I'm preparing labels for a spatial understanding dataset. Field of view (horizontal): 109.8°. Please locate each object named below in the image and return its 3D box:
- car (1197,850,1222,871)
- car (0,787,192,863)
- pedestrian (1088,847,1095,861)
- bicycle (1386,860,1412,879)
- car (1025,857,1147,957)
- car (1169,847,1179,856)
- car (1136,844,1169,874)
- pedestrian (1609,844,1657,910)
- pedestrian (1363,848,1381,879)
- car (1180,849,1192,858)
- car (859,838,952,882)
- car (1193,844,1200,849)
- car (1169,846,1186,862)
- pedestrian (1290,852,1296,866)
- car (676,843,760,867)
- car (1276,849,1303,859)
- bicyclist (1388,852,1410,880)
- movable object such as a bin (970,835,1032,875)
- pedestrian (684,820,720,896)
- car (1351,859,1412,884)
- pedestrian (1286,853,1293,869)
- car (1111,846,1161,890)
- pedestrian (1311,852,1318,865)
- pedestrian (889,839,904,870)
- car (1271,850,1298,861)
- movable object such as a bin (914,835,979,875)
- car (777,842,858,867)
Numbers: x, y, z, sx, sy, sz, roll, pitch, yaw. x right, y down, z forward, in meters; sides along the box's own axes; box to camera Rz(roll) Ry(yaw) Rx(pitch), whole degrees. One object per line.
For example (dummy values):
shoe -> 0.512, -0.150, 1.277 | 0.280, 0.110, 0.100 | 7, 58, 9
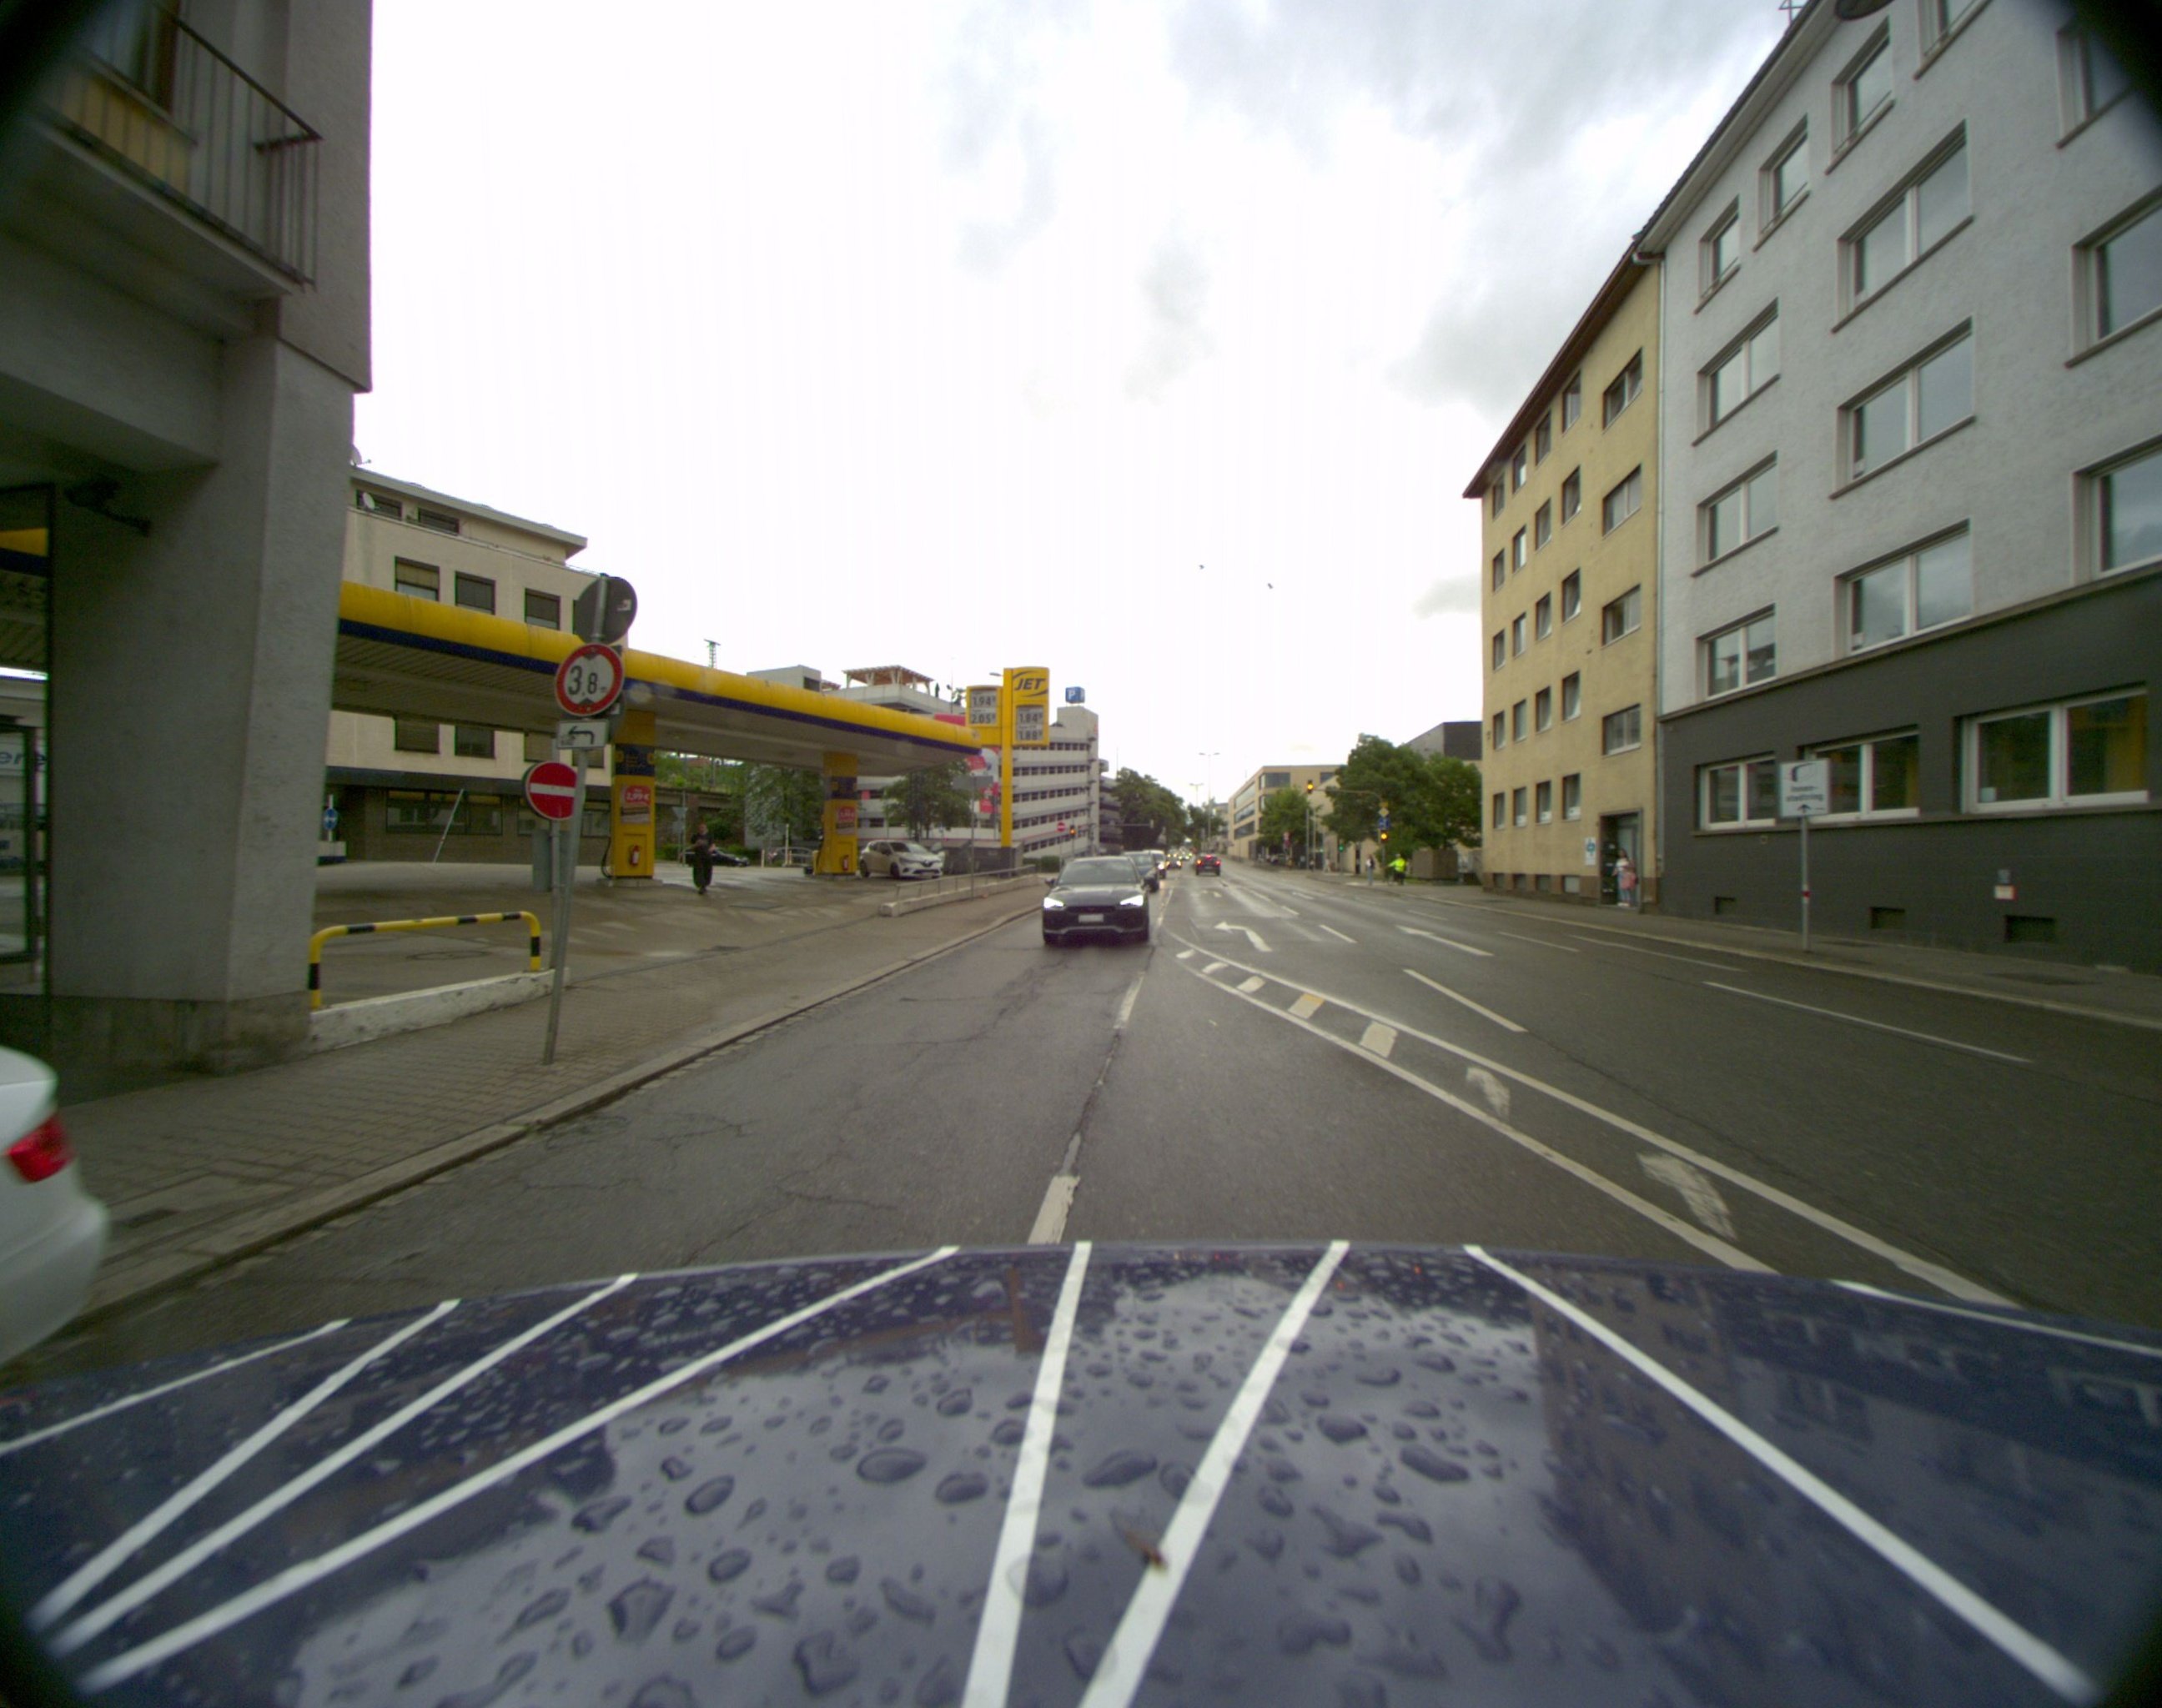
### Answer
car -> 9.994, 0.477, 59.154 | 1.811, 1.585, 4.298 | 0, 0, 9
car -> -26.989, -0.715, 19.933 | 1.994, 1.854, 4.589 | -1, 0, 37
pedestrian -> 1.213, 0.021, 90.572 | 0.583, 1.650, 0.519 | 3, 3, 25
bicycle -> 16.590, 0.800, 39.667 | 0.886, 0.902, 1.868 | -1, 0, 10
car -> 0.265, 0.788, 13.374 | 1.738, 1.380, 4.584 | -1, 0, 5
car -> 19.948, -0.595, 162.932 | 1.998, 1.772, 4.001 | -1, 0, 6
car -> 4.662, 0.318, 48.911 | 1.803, 1.817, 3.952 | -2, 0, 9
pedestrian -> 14.444, 0.598, 19.893 | 0.718, 1.680, 0.812 | -1, 1, 10
pedestrian -> 15.774, 0.522, 41.224 | 0.718, 1.680, 0.812 | -1, 1, 10
car -> 19.716, -0.120, 143.149 | 1.998, 1.772, 4.001 | -1, 0, 6
car -> -6.494, 0.181, 27.825 | 1.749, 1.434, 3.988 | 1, 2, -38
car -> 33.229, -2.229, 218.822 | 1.674, 1.461, 4.303 | 2, 0, 6
car -> 11.834, -0.009, 93.320 | 1.998, 1.772, 4.001 | -1, 0, 6
pedestrian -> 23.822, 0.555, 85.350 | 0.595, 1.507, 0.692 | -1, 1, 7
car -> -26.050, 0.070, 54.617 | 5.034, 1.622, 2.000 | -1, 0, 2
car -> 31.981, -0.001, 116.608 | 3.993, 1.576, 2.002 | -1, 0, 12
bicyclist -> 16.581, 0.614, 39.623 | 0.843, 1.434, 0.813 | -1, 1, 10
movable object such as a bin -> -3.277, 0.046, 31.390 | 2.159, 1.565, 1.774 | 1, 1, 9
pedestrian -> -9.007, 0.092, 18.054 | 0.661, 1.762, 0.528 | 1, 3, -34
car -> 27.970, 1.624, 70.911 | 4.786, 1.914, 2.001 | 4, 1, 5
pedestrian -> 23.113, 0.798, 84.178 | 0.595, 1.761, 0.692 | -1, 1, 7
car -> 2.303, 0.543, 30.868 | 1.845, 1.647, 4.002 | -1, 0, 7
pedestrian -> 25.042, 0.527, 81.634 | 0.622, 1.368, 0.475 | -1, 1, 9
pedestrian -> -9.099, 0.012, 37.476 | 0.576, 1.506, 0.478 | -2, 1, -32
car -> 31.907, 0.208, 119.153 | 3.993, 1.576, 2.002 | -1, 0, 12
movable object such as a bin -> -5.567, 0.029, 31.691 | 2.159, 1.546, 1.774 | 2, 1, 9
car -> -18.779, 0.029, 54.332 | 5.034, 1.622, 2.000 | -1, 0, 2
